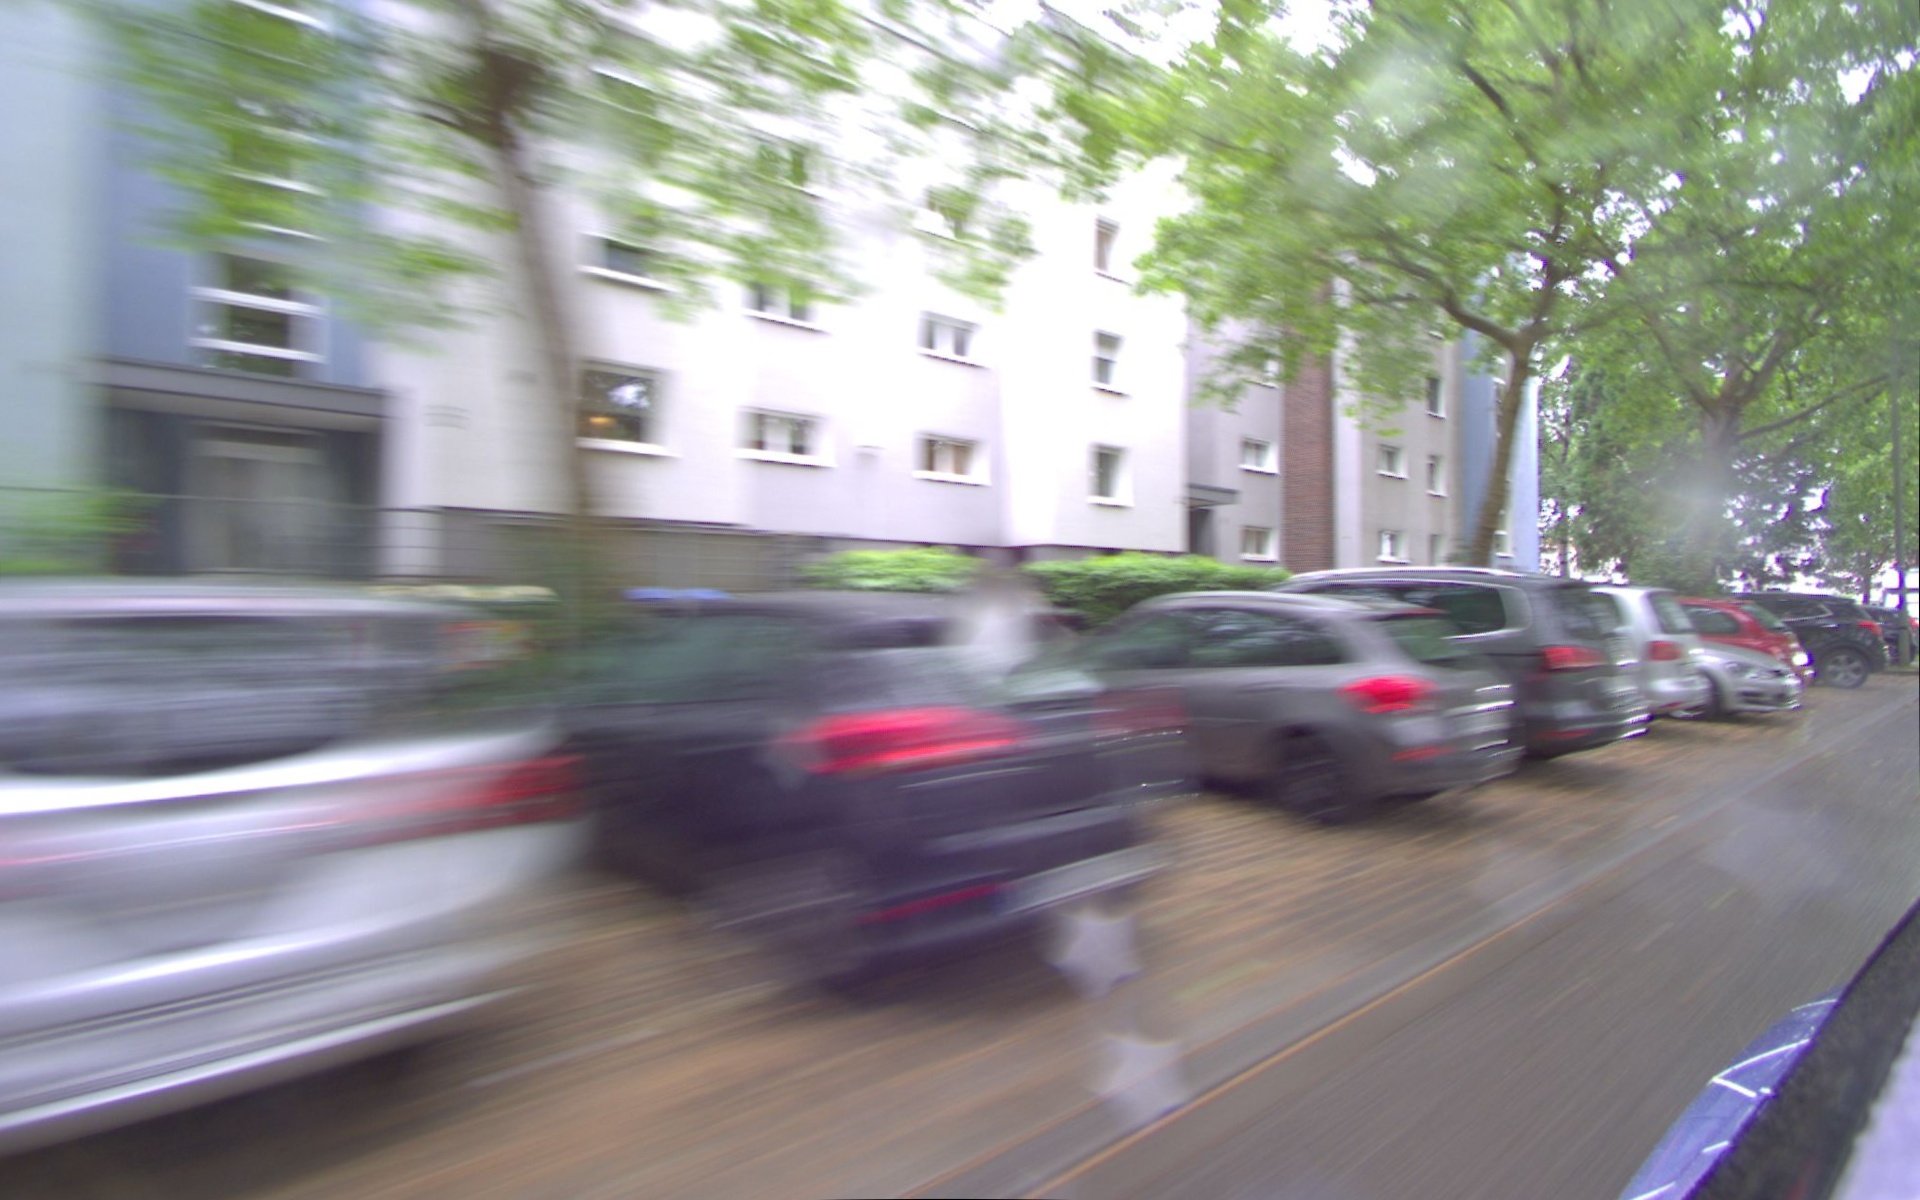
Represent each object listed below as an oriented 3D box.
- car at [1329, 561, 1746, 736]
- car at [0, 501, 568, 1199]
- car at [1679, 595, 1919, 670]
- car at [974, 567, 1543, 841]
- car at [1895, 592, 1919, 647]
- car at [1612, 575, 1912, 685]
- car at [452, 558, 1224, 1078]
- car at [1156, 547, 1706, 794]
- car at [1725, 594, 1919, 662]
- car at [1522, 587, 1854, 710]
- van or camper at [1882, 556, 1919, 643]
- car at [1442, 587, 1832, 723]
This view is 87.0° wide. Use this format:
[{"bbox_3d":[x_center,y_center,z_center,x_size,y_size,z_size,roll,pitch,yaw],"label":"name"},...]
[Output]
[{"bbox_3d":[6.770,0.531,12.225,1.769,1.750,3.994,1,-2,-40],"label":"car"},{"bbox_3d":[-3.112,0.629,3.696,1.717,1.604,4.214,1,-1,-43],"label":"car"},{"bbox_3d":[19.309,0.741,23.429,3.949,1.622,1.791,-1,-1,20],"label":"car"},{"bbox_3d":[2.018,0.639,7.821,1.602,1.557,3.993,1,-2,-40],"label":"car"},{"bbox_3d":[30.229,0.585,31.083,1.680,1.674,2.911,-1,-2,33],"label":"car"},{"bbox_3d":[14.258,0.491,18.279,3.822,1.719,1.824,2,0,22],"label":"car"},{"bbox_3d":[-0.941,0.659,4.910,1.657,1.460,4.038,1,-2,-43],"label":"car"},{"bbox_3d":[4.147,0.558,9.557,1.786,1.784,4.345,1,-2,-40],"label":"car"},{"bbox_3d":[21.901,0.701,25.512,3.721,1.622,1.791,-1,-1,20],"label":"car"},{"bbox_3d":[10.799,0.621,15.227,1.706,1.556,3.714,1,1,-37],"label":"car"},{"bbox_3d":[34.210,-0.029,35.098,6.740,2.843,2.323,0,-1,-39],"label":"van or camper"},{"bbox_3d":[8.825,0.664,13.453,1.770,1.532,3.991,1,-2,-42],"label":"car"}]
